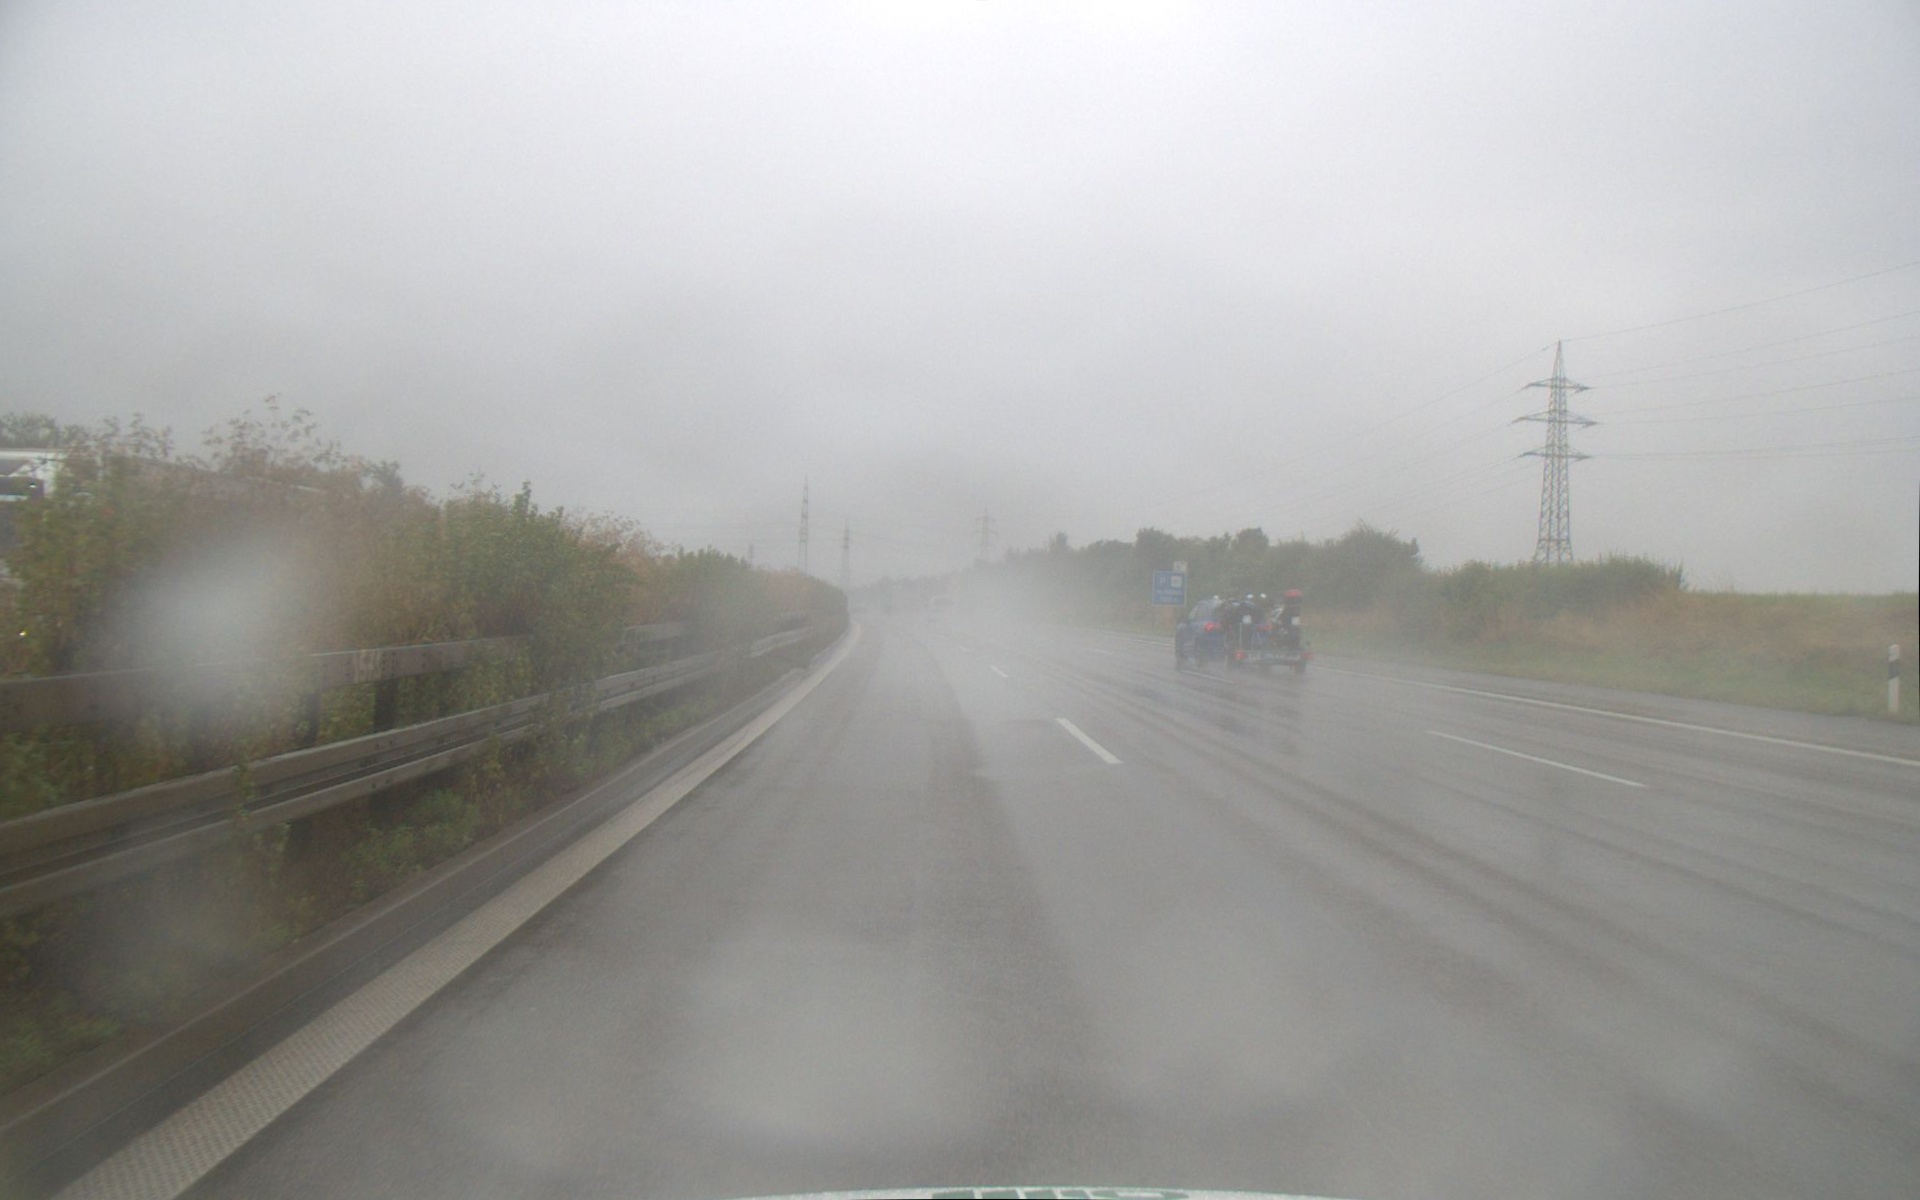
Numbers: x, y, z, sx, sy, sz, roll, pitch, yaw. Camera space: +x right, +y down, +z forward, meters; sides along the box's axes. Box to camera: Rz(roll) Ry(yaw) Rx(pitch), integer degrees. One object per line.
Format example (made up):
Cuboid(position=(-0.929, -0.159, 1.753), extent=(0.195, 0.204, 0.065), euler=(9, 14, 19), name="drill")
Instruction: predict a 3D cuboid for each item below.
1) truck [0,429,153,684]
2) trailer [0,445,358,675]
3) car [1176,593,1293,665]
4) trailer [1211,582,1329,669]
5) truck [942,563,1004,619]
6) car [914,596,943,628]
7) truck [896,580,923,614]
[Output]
Cuboid(position=(-16.820, -0.743, 29.920), extent=(2.477, 4.301, 4.075), euler=(1, 0, -2), name="truck")
Cuboid(position=(-17.069, -0.745, 37.514), extent=(2.467, 4.295, 12.938), euler=(1, 0, -2), name="trailer")
Cuboid(position=(6.682, 0.716, 40.768), extent=(1.953, 1.647, 4.990), euler=(0, -1, -1), name="car")
Cuboid(position=(6.826, 0.566, 36.708), extent=(1.939, 1.816, 3.187), euler=(0, -1, -2), name="trailer")
Cuboid(position=(1.006, -0.710, 149.221), extent=(4.107, 4.711, 16.087), euler=(1, -1, -5), name="truck")
Cuboid(position=(-2.145, 0.804, 111.512), extent=(1.953, 2.049, 3.998), euler=(1, 0, -2), name="car")
Cuboid(position=(-6.767, -0.352, 219.615), extent=(3.169, 4.387, 8.829), euler=(1, 0, -4), name="truck")
